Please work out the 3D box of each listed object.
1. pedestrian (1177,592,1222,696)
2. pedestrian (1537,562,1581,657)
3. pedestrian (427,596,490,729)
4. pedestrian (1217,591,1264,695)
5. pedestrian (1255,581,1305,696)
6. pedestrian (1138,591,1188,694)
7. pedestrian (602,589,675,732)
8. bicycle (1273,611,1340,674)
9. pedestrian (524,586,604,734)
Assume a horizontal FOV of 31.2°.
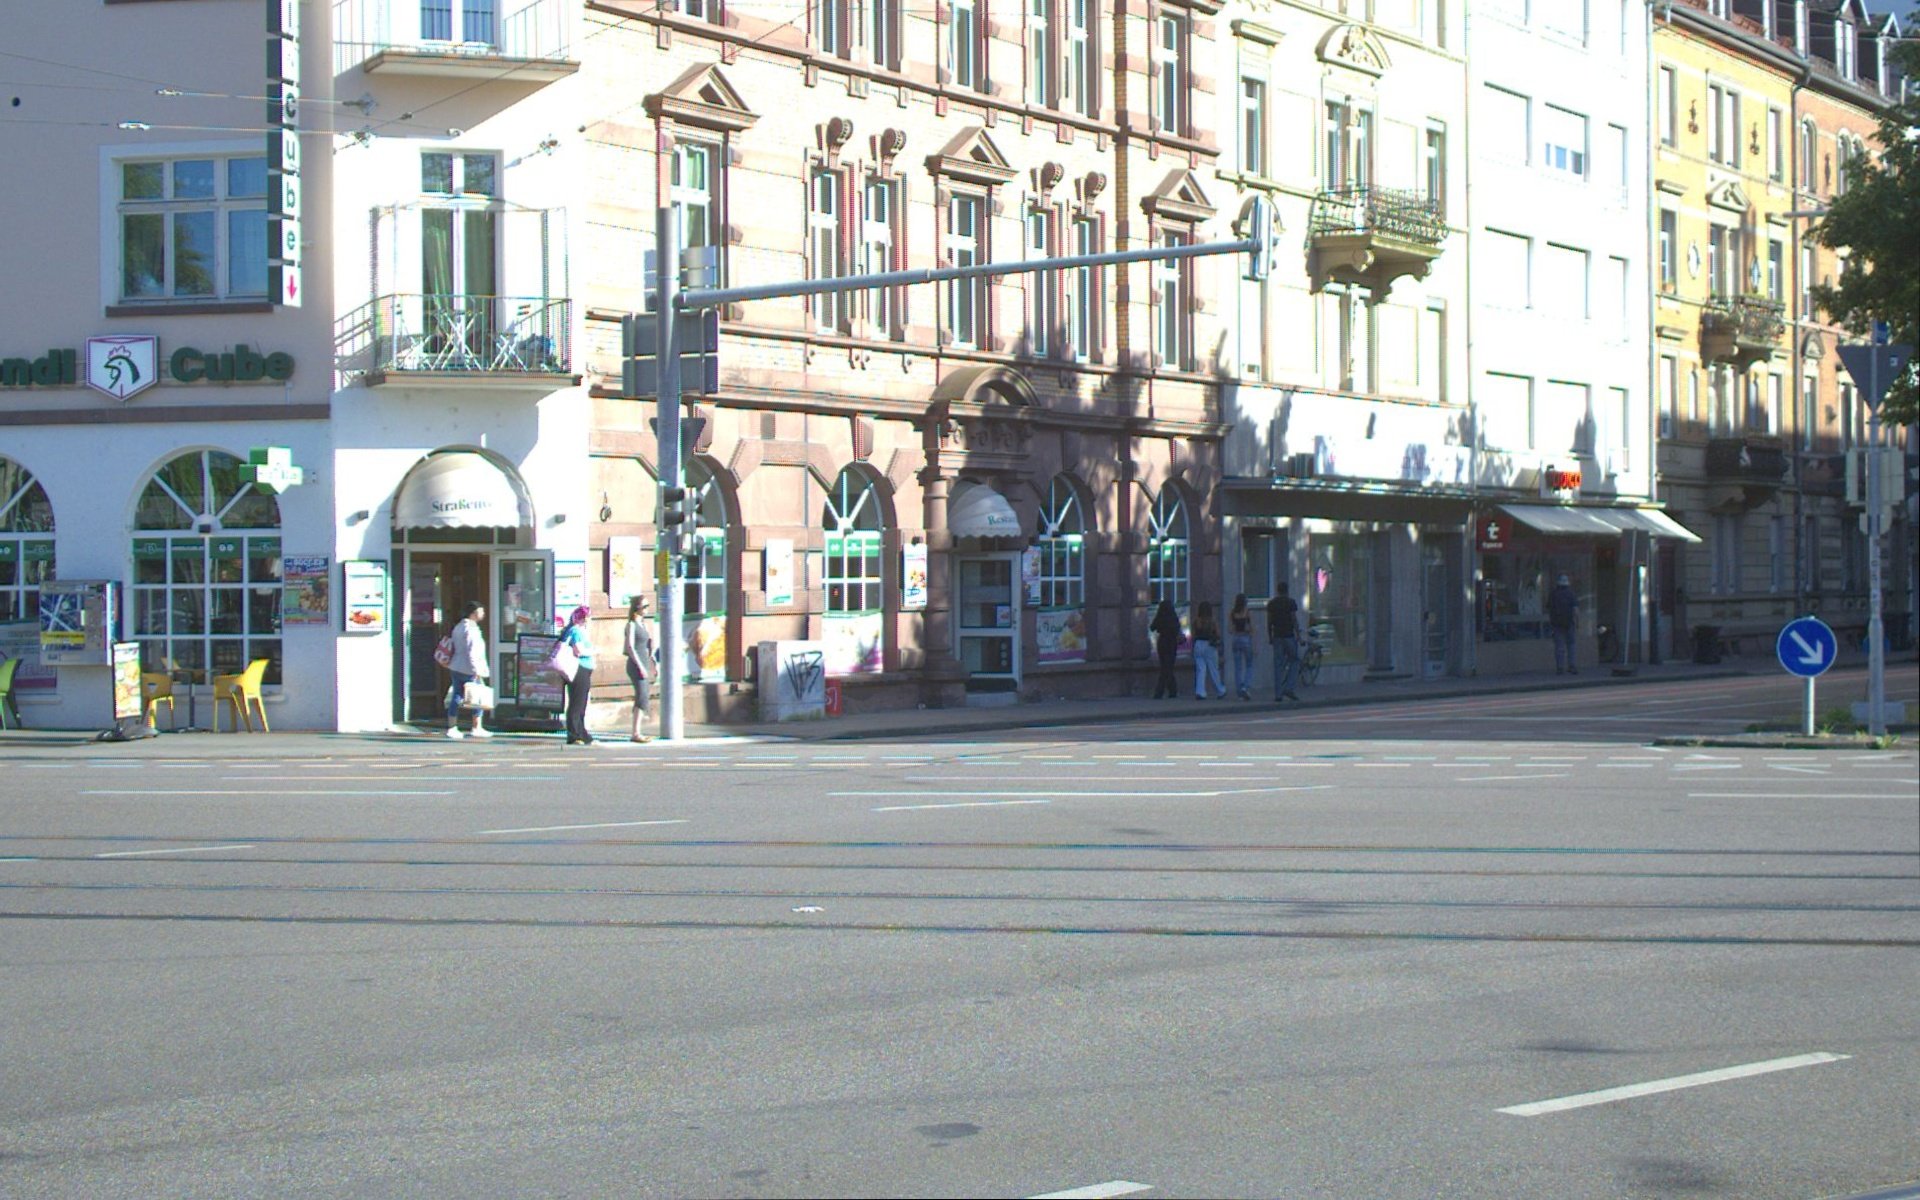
[{"bbox_3d":[3.817,0.694,54.702,0.551,1.636,0.537,0,1,24],"label":"pedestrian"},{"bbox_3d":[11.991,0.187,68.770,0.683,1.902,0.632,0,1,29],"label":"pedestrian"},{"bbox_3d":[-5.822,0.714,39.953,0.657,1.519,0.695,-1,1,-4],"label":"pedestrian"},{"bbox_3d":[4.474,0.681,54.900,0.551,1.636,0.632,0,1,25],"label":"pedestrian"},{"bbox_3d":[5.141,0.609,55.225,0.580,1.830,0.632,0,1,29],"label":"pedestrian"},{"bbox_3d":[3.241,0.674,54.880,0.628,1.636,0.537,0,1,26],"label":"pedestrian"},{"bbox_3d":[-3.736,0.694,39.990,0.632,1.636,0.551,0,1,27],"label":"pedestrian"},{"bbox_3d":[6.106,0.739,60.516,0.496,1.063,1.767,0,1,30],"label":"bicycle"},{"bbox_3d":[-4.451,0.668,38.630,0.676,1.636,0.577,0,1,27],"label":"pedestrian"}]
